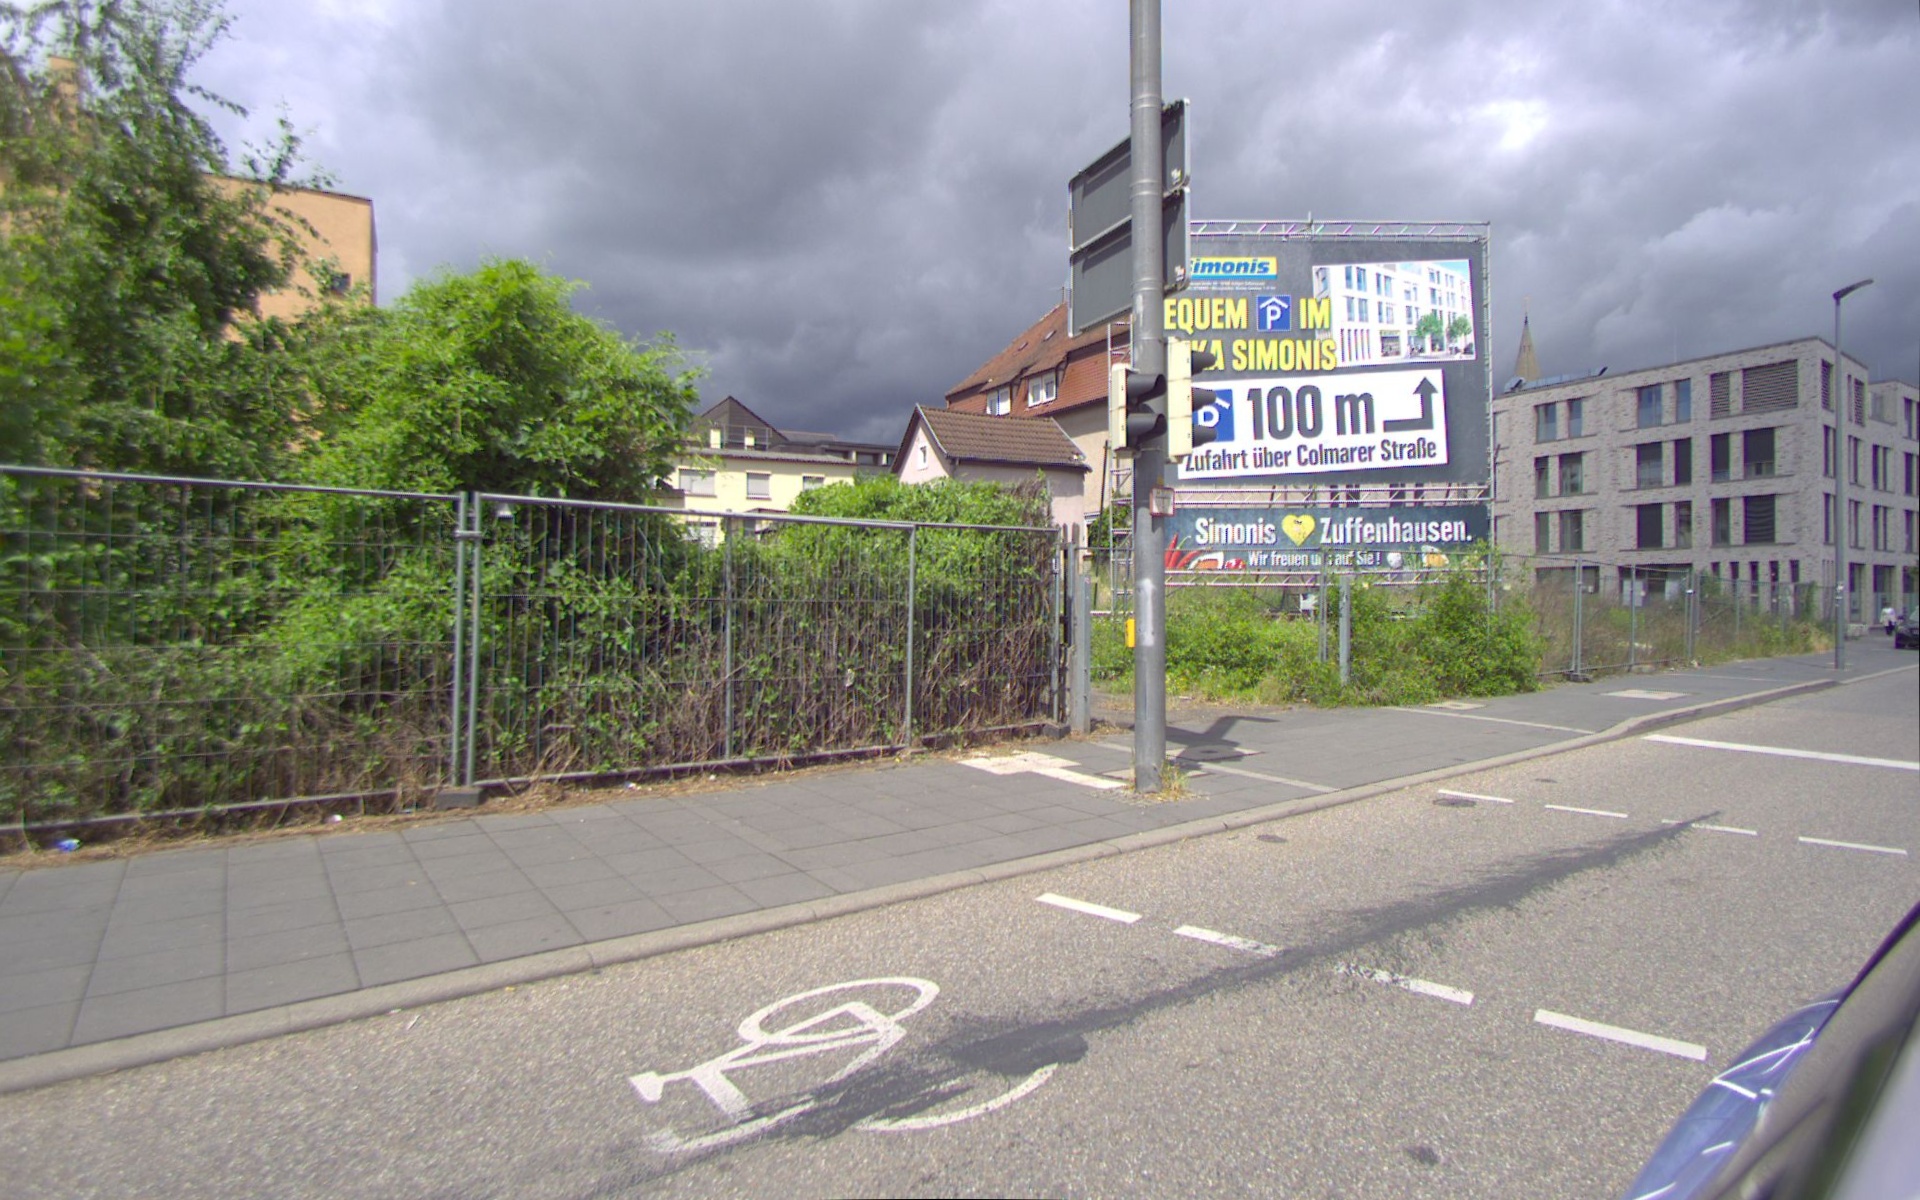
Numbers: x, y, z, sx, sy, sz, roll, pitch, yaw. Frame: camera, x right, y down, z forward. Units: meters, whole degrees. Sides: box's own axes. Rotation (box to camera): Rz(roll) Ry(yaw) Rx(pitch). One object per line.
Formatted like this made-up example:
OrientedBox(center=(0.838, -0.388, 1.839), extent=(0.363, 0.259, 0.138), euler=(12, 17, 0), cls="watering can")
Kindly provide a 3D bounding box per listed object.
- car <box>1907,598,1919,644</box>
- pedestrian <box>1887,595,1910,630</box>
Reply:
OrientedBox(center=(32.463, 0.682, 33.017), extent=(3.725, 1.441, 1.678), euler=(-1, 2, -38), cls="car")
OrientedBox(center=(42.452, 0.554, 45.786), extent=(0.768, 1.531, 0.673), euler=(1, 0, -40), cls="pedestrian")
